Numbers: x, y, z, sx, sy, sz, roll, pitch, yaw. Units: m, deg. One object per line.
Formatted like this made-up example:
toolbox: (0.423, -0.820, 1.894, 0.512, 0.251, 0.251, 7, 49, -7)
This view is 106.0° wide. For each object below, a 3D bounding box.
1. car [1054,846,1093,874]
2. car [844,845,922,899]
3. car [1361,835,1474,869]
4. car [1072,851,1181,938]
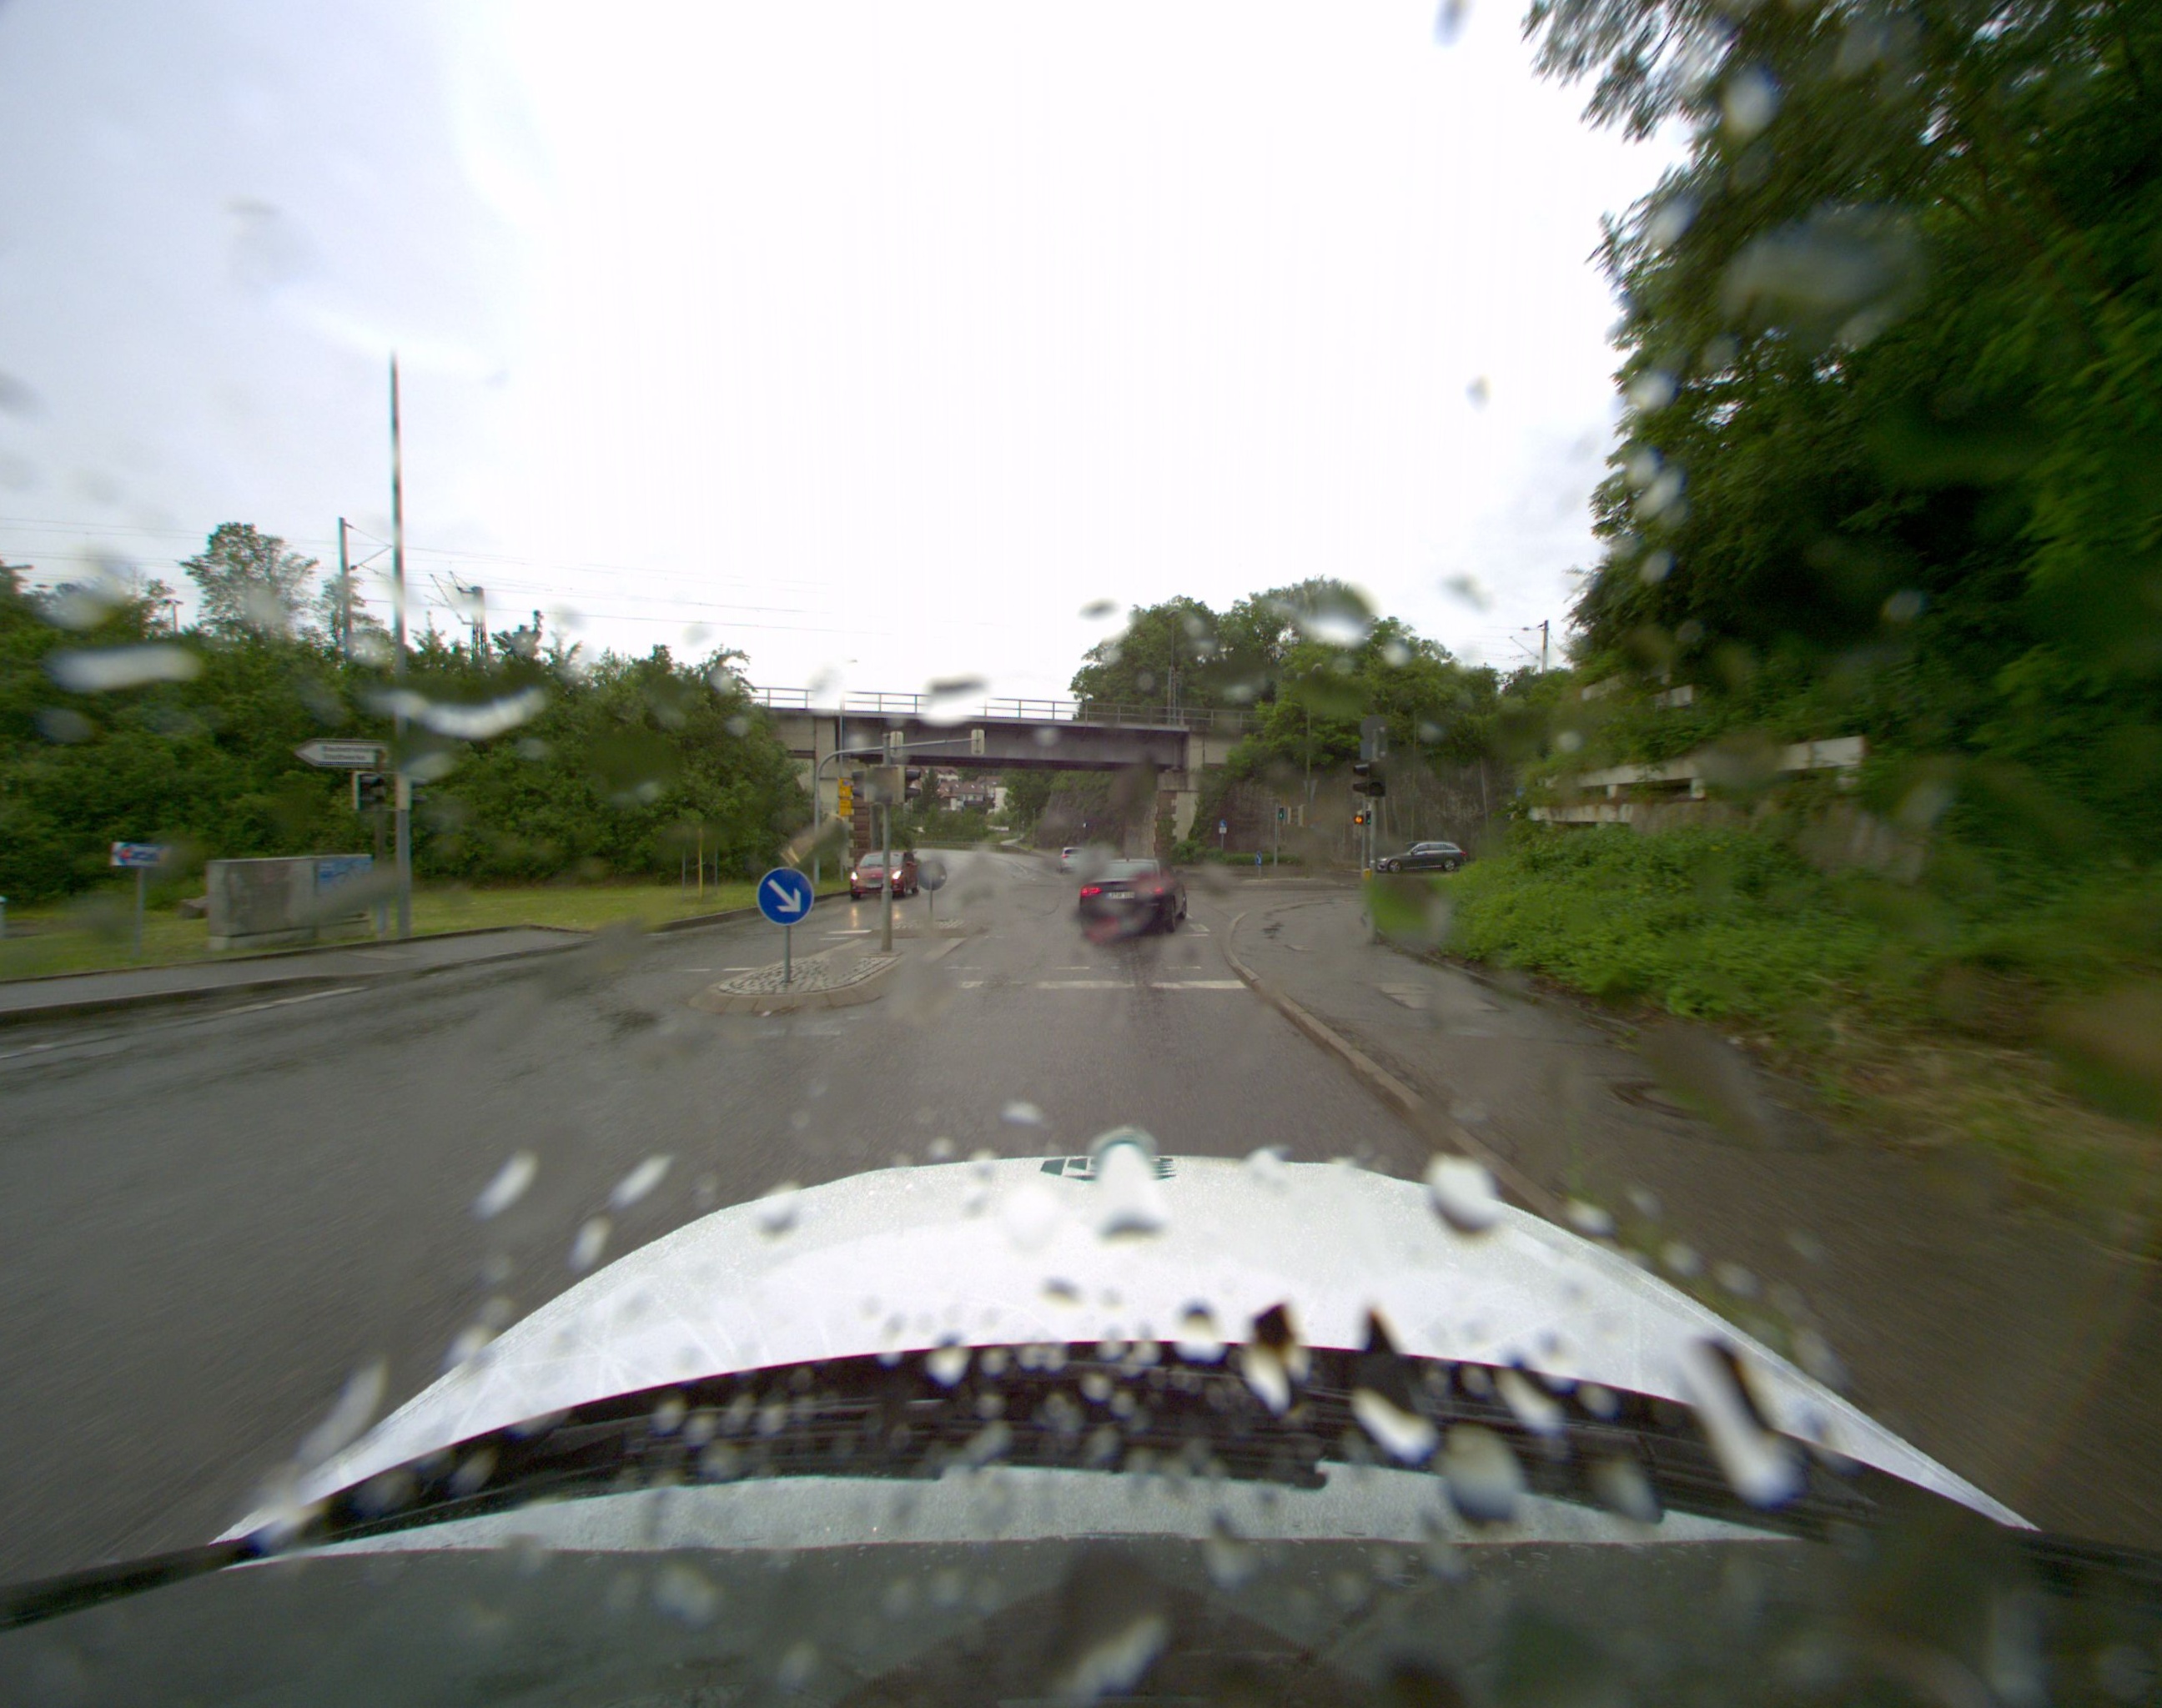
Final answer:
car: (-0.477, 0.332, 48.032, 1.990, 1.562, 3.993, -1, 0, -5)
car: (-6.963, 0.580, 29.069, 1.893, 1.714, 4.675, -1, 0, -4)
car: (16.252, -0.089, 39.479, 4.709, 1.503, 1.995, -1, 0, -7)
car: (1.013, 0.716, 16.423, 1.883, 1.492, 4.214, -1, 0, 6)
